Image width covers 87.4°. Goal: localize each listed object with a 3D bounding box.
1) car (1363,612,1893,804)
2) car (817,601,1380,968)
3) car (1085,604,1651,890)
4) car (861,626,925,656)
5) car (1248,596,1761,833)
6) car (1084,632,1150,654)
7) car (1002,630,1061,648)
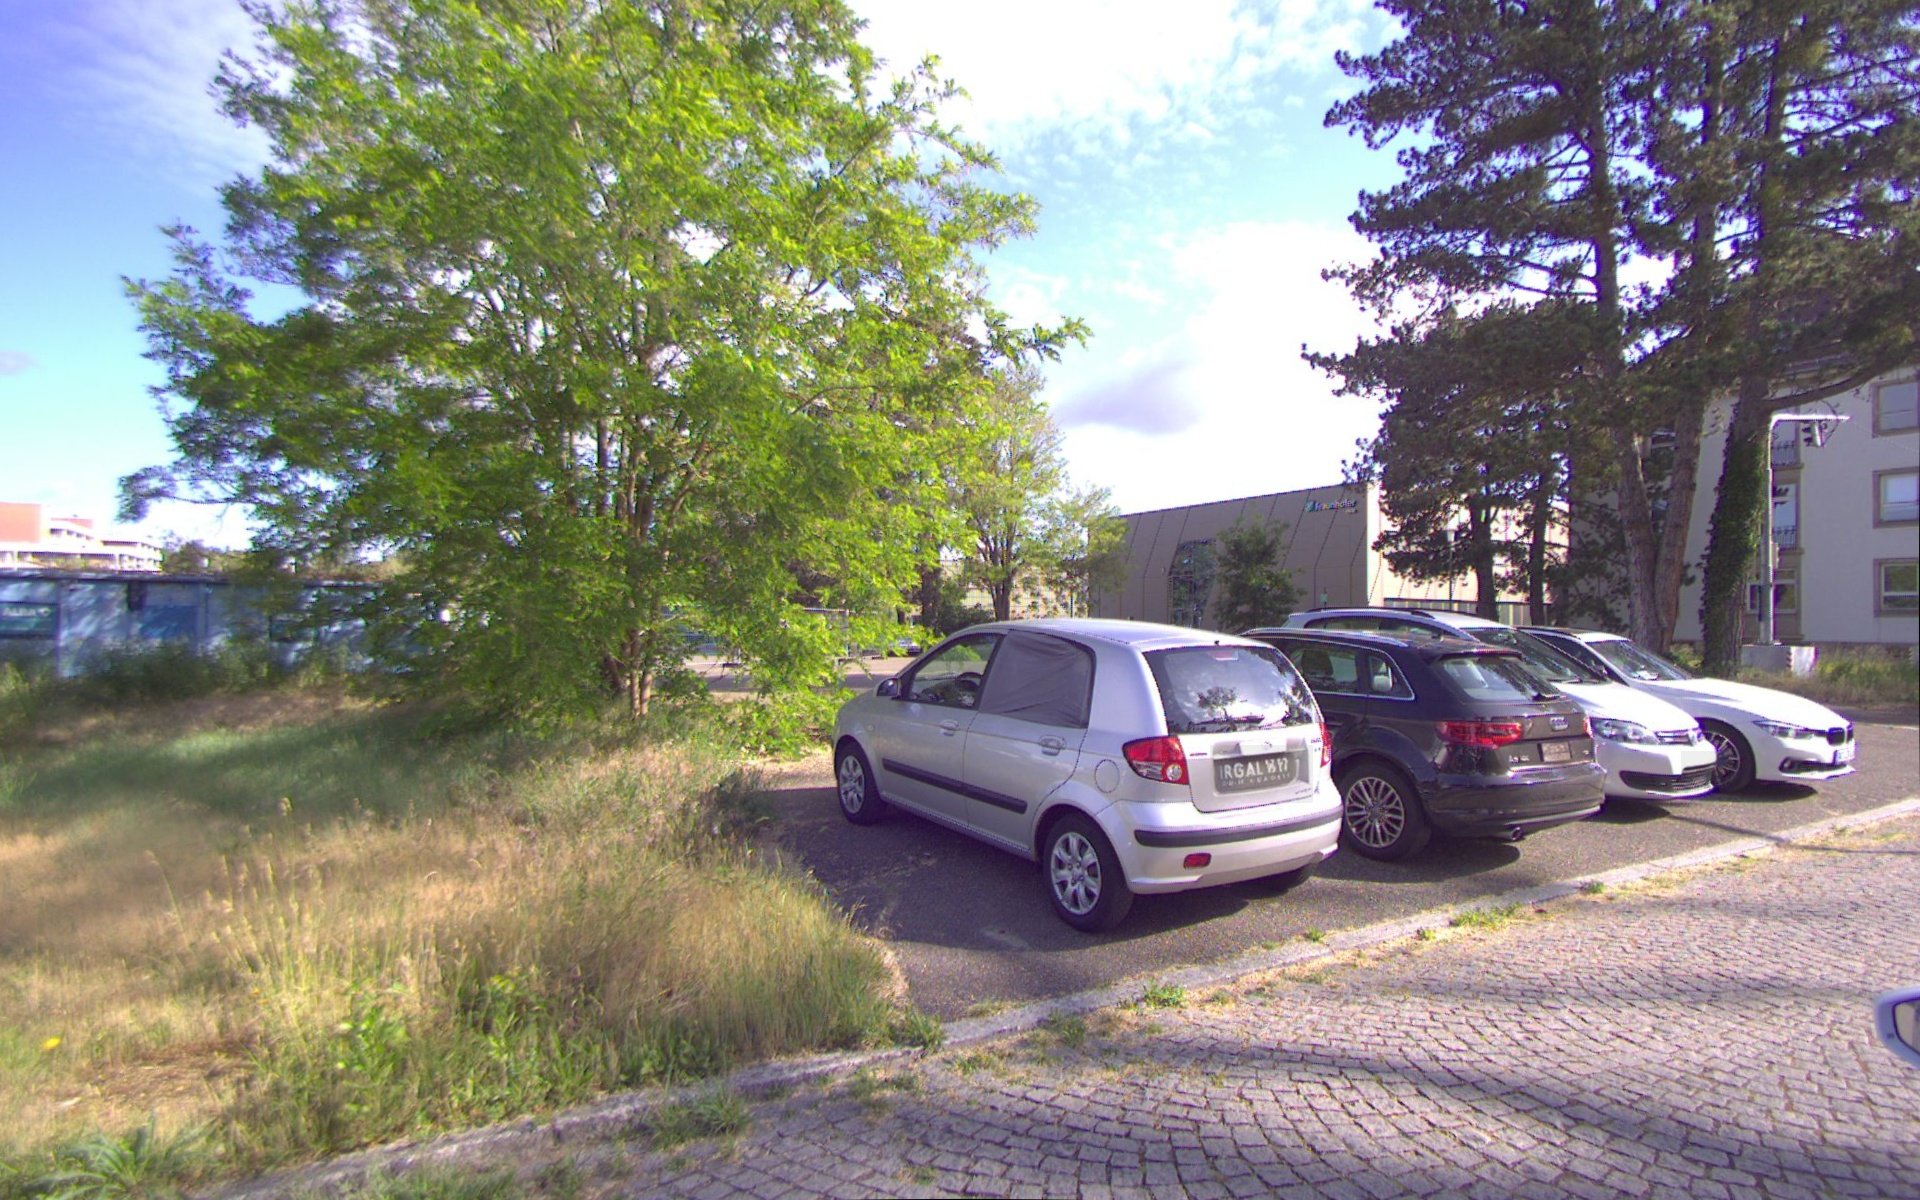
[{"bbox_3d":[6.944,0.965,11.011,1.734,1.487,4.514,1,1,-33],"label":"car"},{"bbox_3d":[0.584,0.827,6.292,1.619,1.490,3.444,1,1,-33],"label":"car"},{"bbox_3d":[2.826,0.866,7.772,1.669,1.490,3.776,1,1,-31],"label":"car"},{"bbox_3d":[-3.257,1.938,48.091,1.726,1.388,3.596,1,-2,-28],"label":"car"},{"bbox_3d":[4.893,0.863,9.560,1.705,1.648,3.918,1,1,-35],"label":"car"},{"bbox_3d":[9.706,2.659,62.087,4.001,1.311,1.481,1,-2,-29],"label":"car"},{"bbox_3d":[5.004,2.705,70.117,3.949,1.221,1.481,1,-2,-28],"label":"car"}]
